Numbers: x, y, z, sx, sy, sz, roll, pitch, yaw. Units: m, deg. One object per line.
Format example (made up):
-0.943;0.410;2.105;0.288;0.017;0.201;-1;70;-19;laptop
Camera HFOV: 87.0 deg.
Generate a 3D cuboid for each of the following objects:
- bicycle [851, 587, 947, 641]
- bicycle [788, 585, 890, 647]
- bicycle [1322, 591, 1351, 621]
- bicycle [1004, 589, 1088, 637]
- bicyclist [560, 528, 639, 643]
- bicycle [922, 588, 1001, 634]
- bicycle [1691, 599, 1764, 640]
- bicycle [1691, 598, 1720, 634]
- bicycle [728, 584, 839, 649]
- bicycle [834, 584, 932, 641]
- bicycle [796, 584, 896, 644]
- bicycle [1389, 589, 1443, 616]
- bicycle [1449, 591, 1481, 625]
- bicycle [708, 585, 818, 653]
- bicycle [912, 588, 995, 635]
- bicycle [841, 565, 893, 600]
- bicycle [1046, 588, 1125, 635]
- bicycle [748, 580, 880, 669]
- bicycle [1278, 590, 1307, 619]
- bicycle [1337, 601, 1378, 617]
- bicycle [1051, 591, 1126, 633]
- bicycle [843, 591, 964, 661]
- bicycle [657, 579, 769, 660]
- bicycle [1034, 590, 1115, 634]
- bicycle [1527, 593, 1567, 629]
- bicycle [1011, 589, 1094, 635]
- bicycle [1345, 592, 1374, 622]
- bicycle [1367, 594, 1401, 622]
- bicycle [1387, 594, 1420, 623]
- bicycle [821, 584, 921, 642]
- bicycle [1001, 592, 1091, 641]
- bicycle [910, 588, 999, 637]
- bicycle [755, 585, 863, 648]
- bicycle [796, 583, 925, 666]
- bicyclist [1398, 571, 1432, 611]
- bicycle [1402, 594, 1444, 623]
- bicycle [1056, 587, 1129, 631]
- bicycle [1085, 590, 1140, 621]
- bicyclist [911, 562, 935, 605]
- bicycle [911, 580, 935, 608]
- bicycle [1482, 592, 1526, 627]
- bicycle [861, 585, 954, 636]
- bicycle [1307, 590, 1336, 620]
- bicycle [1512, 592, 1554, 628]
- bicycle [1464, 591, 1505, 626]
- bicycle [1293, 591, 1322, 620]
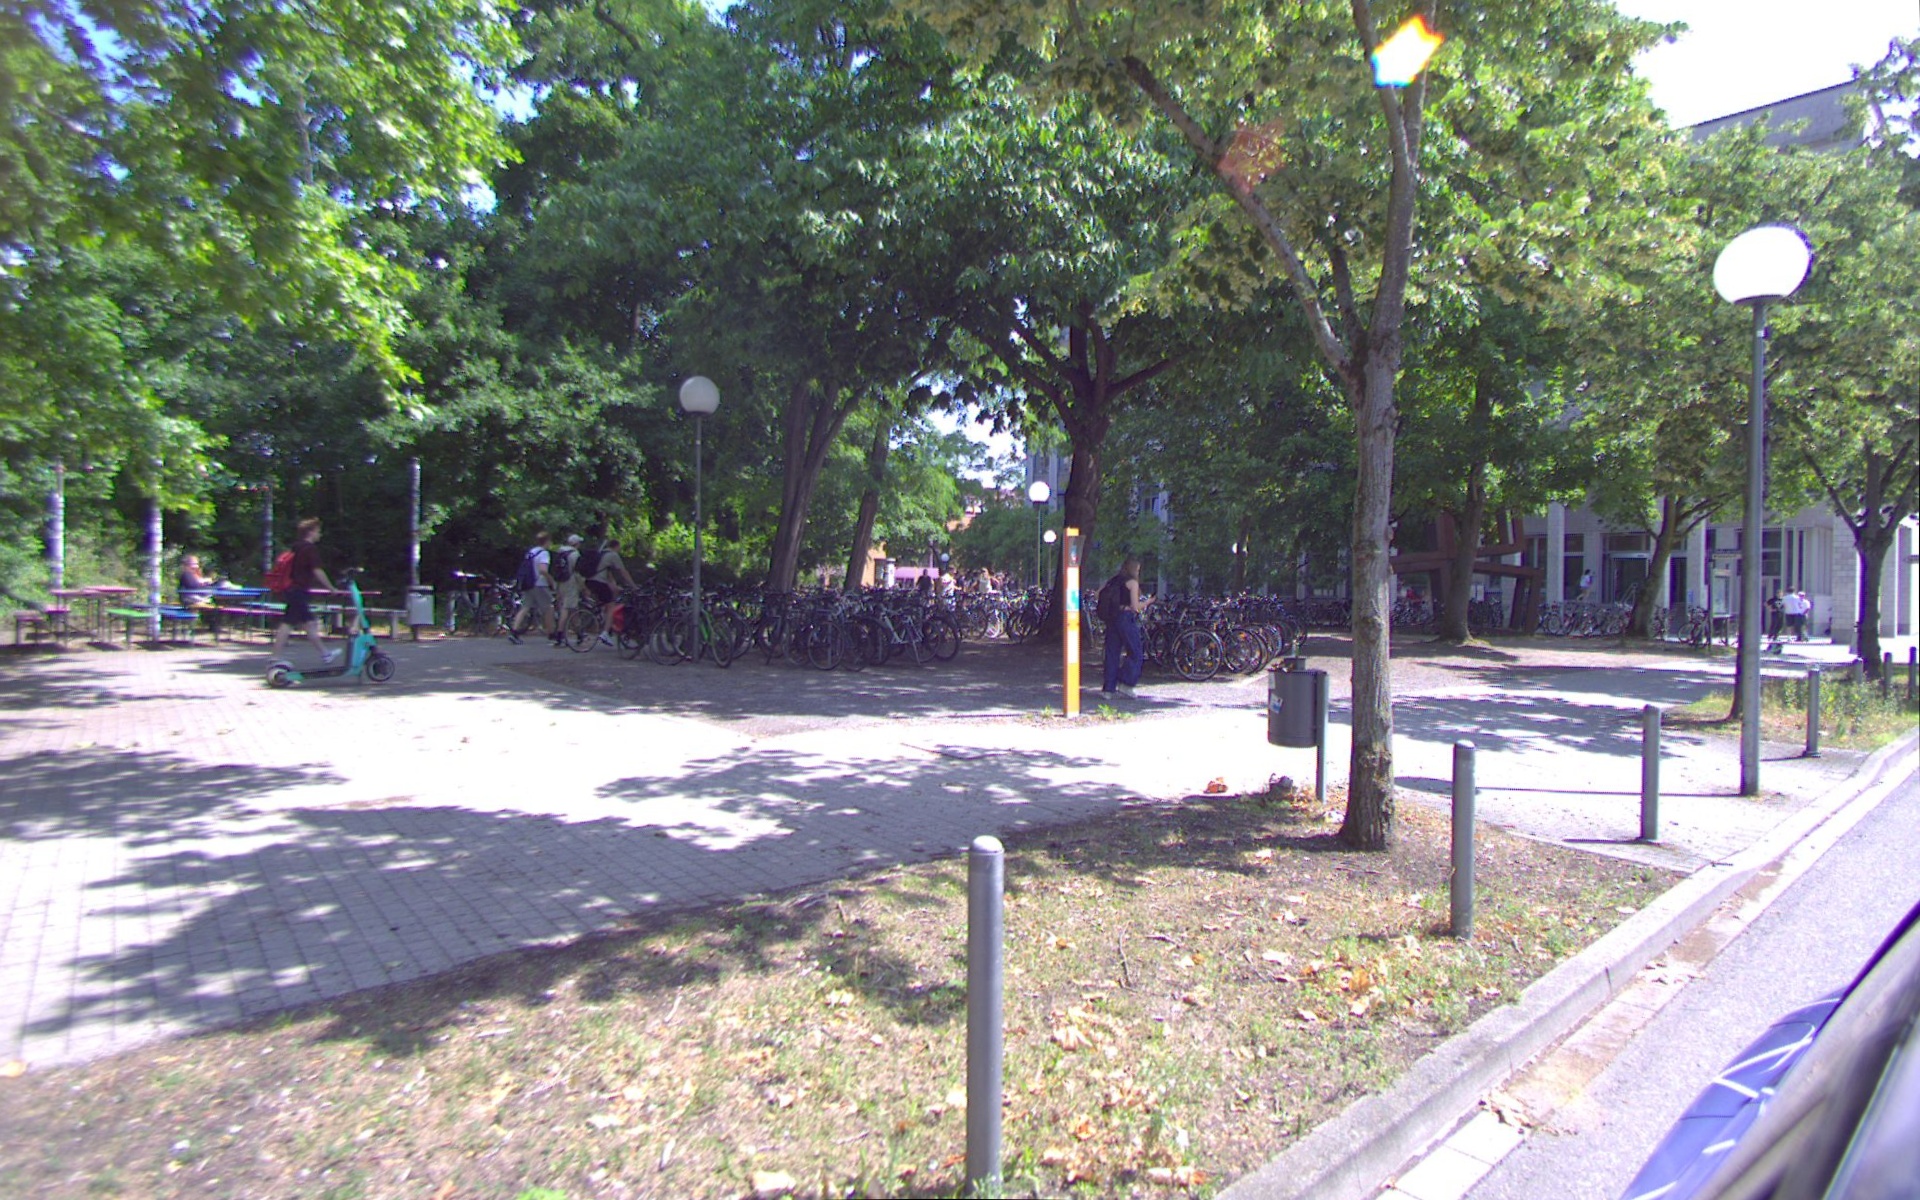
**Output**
-1.231;0.257;20.289;1.886;0.991;0.607;2;2;28;bicycle
-2.154;0.267;17.975;1.886;0.991;0.417;2;2;28;bicycle
15.021;0.238;40.312;0.453;1.144;1.661;-2;-3;44;bicycle
1.956;0.289;23.003;1.872;0.991;0.477;2;1;9;bicycle
-5.732;-0.234;16.147;0.527;1.750;1.068;3;2;28;bicyclist
0.027;0.256;23.781;1.863;0.991;0.304;2;1;23;bicycle
22.714;0.579;29.973;1.749;1.155;0.607;1;2;-8;bicycle
27.671;0.572;37.555;1.798;1.257;0.531;-1;2;-42;bicycle
-2.958;0.265;16.892;1.881;0.991;0.418;2;1;22;bicycle
-1.485;0.219;19.325;1.885;0.991;0.474;2;2;27;bicycle
-2.095;0.234;18.463;1.886;0.991;0.417;2;2;28;bicycle
19.073;0.097;42.363;0.804;1.054;1.931;-4;3;-37;bicycle
18.237;0.304;36.546;0.625;1.165;1.671;-2;-3;40;bicycle
-3.185;0.278;16.279;1.888;0.991;0.473;3;2;31;bicycle
-0.157;0.248;23.319;1.885;0.991;0.438;2;1;26;bicycle
-3.032;-0.579;33.044;1.586;1.107;0.477;2;1;12;bicycle
3.117;0.274;25.129;1.875;1.096;0.477;2;1;14;bicycle
-2.049;0.310;14.113;1.792;1.132;0.607;2;2;28;bicycle
13.642;0.181;41.494;0.453;1.144;1.661;-2;-3;44;bicycle
21.248;0.499;54.123;0.633;0.769;1.986;2;1;-43;bicycle
3.293;0.304;25.963;1.873;0.991;0.477;2;1;11;bicycle
-0.916;0.392;16.173;1.886;0.991;0.607;2;2;28;bicycle
-3.837;0.275;15.654;1.888;1.157;0.473;3;2;31;bicycle
2.775;0.276;24.540;1.880;0.991;0.475;2;1;20;bicycle
19.976;0.374;34.437;1.664;1.139;0.482;3;1;-36;bicycle
2.143;0.262;23.507;1.872;0.991;0.477;2;1;8;bicycle
15.727;0.277;39.808;0.453;1.144;1.661;-2;-3;44;bicycle
16.195;0.314;38.647;0.615;1.061;1.661;-2;-3;44;bicycle
16.718;0.316;38.152;0.615;1.061;1.661;-2;-3;44;bicycle
-1.685;0.225;19.009;1.885;0.991;0.474;2;2;27;bicycle
1.844;0.352;21.823;1.868;0.991;0.478;2;1;1;bicycle
-0.126;0.254;22.273;1.880;0.991;0.475;2;1;20;bicycle
-2.615;0.262;17.444;1.884;0.991;0.474;2;1;25;bicycle
-1.504;0.335;15.124;1.886;1.132;0.607;2;2;28;bicycle
19.067;-0.379;42.415;0.823;1.562;0.959;4;0;-38;bicyclist
17.204;0.329;37.598;1.663;1.061;0.618;1;-2;-33;bicycle
3.552;0.221;27.138;1.875;1.096;0.477;2;1;14;bicycle
5.321;0.181;35.400;1.871;0.991;0.478;2;1;6;bicycle
-1.320;-0.586;36.094;0.732;1.465;0.802;2;0;6;bicyclist
-1.323;-0.227;36.175;0.576;0.942;1.750;4;2;6;bicycle
19.036;0.325;35.397;1.664;1.139;0.628;3;1;-36;bicycle
-1.103;0.211;21.389;1.877;0.991;0.534;2;1;16;bicycle
14.564;0.214;40.774;0.453;1.144;1.661;-2;-3;44;bicycle
19.768;0.351;34.926;1.664;1.139;0.566;3;1;-36;bicycle
18.680;0.302;36.035;1.666;1.165;0.627;3;1;-40;bicycle
14.148;0.225;41.185;0.453;1.144;1.661;-2;-3;44;bicycle
